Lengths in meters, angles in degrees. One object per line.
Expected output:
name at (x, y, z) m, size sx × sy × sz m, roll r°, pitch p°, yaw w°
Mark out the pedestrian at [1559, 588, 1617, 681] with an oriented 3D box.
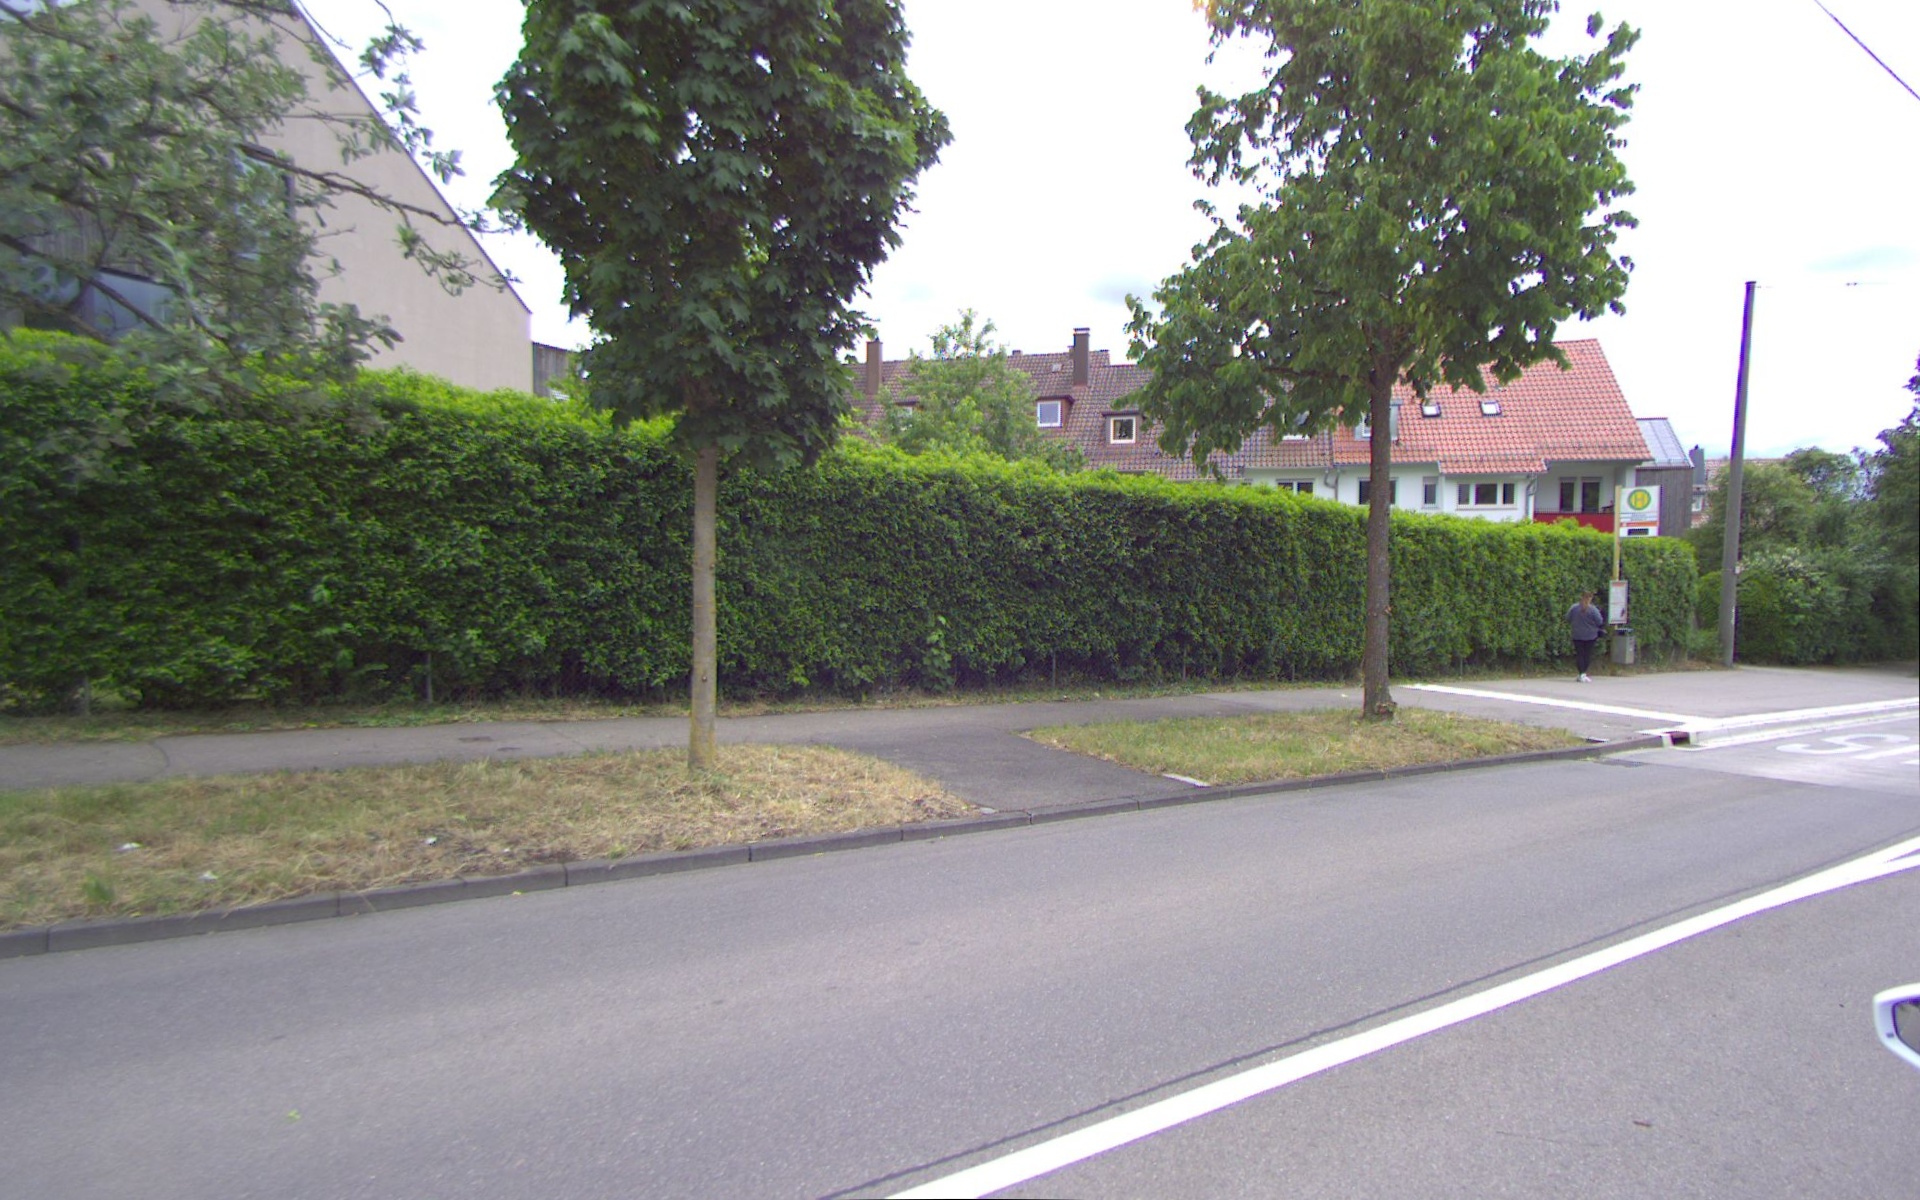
pedestrian at (12.054, 0.653, 19.281) m, size 0.772 × 1.733 × 0.686 m, roll 1°, pitch 1°, yaw -40°
